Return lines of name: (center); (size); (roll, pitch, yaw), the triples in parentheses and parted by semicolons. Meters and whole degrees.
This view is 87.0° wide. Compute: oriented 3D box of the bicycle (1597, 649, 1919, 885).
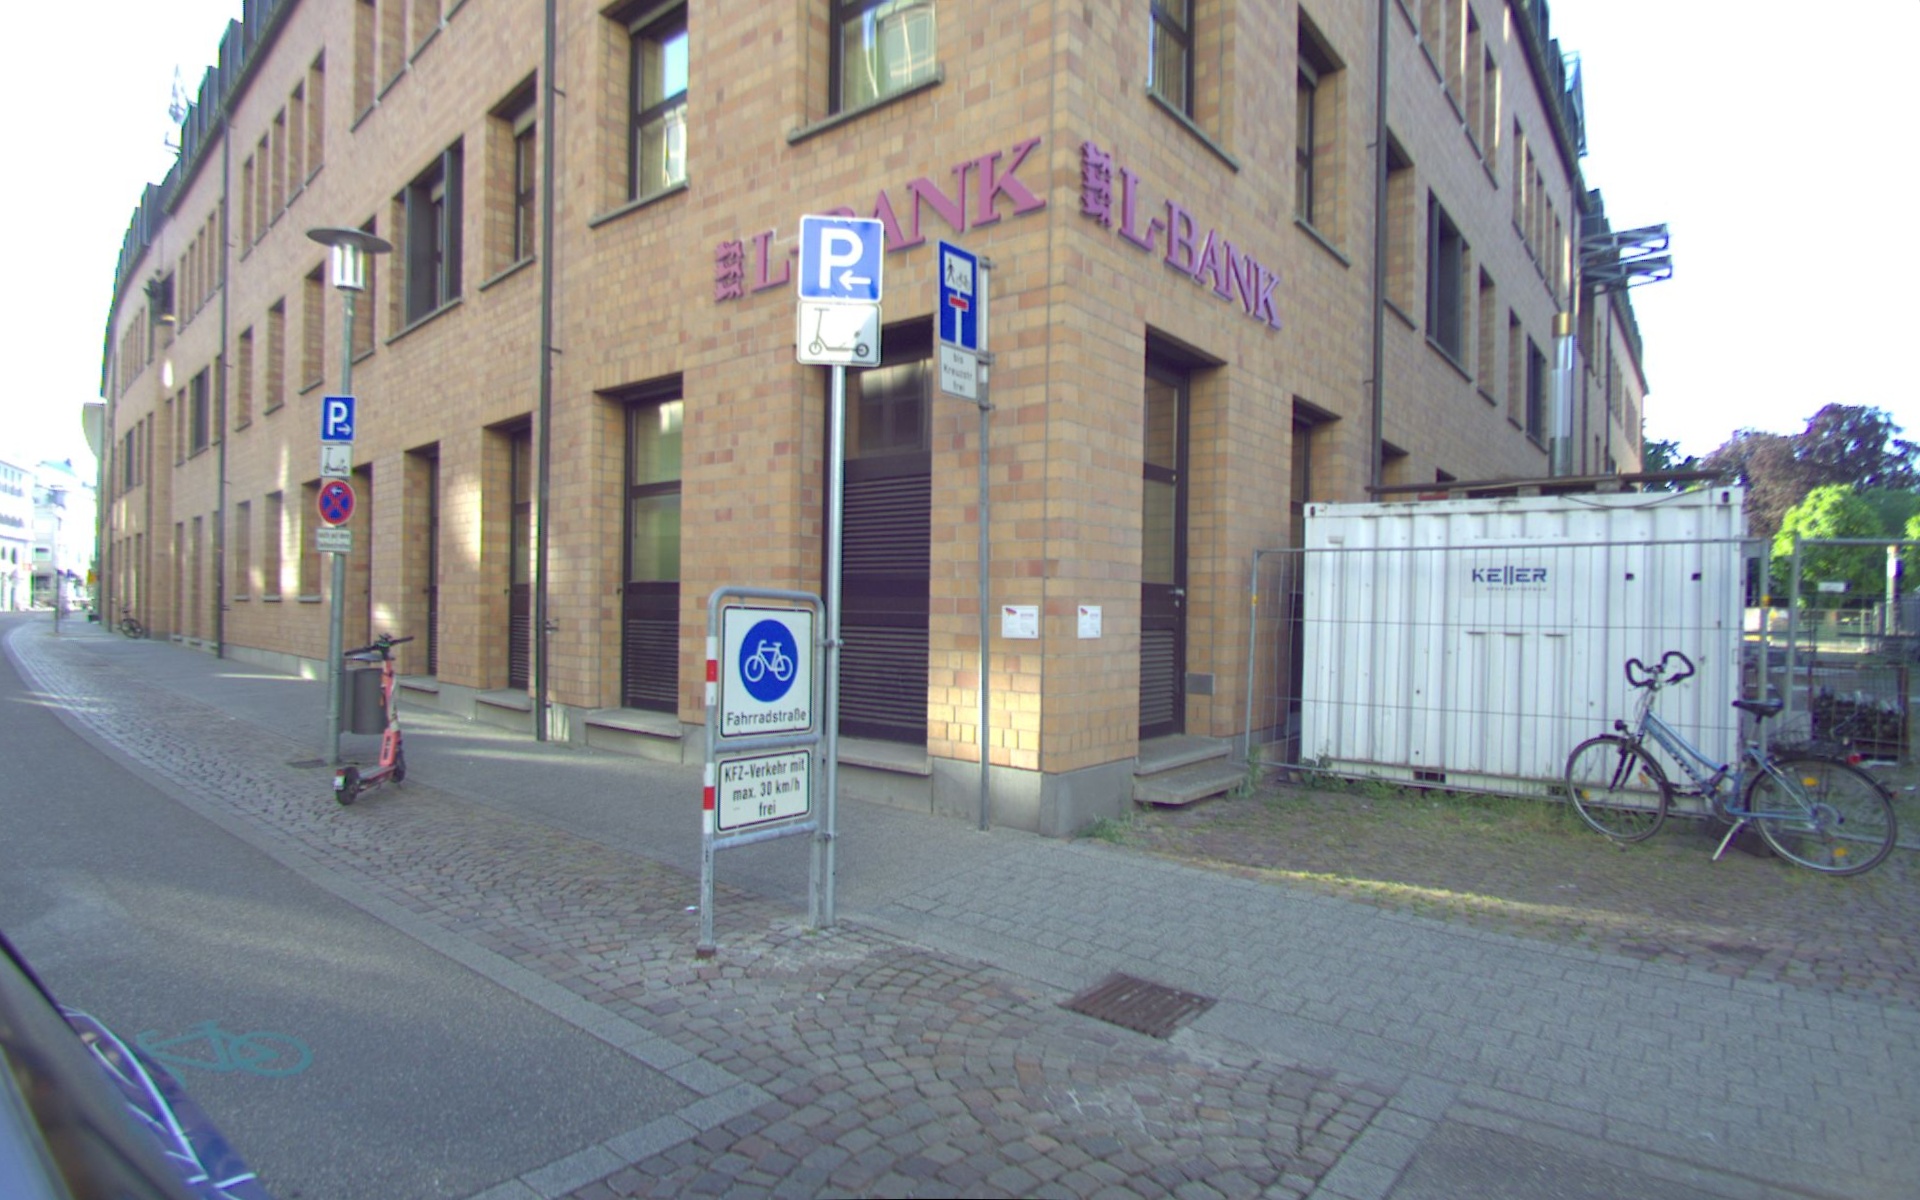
bicycle: (4.786, 0.910, 6.076); (0.424, 1.153, 1.596); (1, 0, -32)

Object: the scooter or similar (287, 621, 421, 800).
scooter or similar: (-4.543, 0.784, 7.668); (0.460, 1.234, 1.303); (2, -2, -14)

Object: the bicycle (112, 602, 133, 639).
bicycle: (-26.861, 0.643, 32.469); (0.425, 1.153, 1.692); (1, 0, -43)
